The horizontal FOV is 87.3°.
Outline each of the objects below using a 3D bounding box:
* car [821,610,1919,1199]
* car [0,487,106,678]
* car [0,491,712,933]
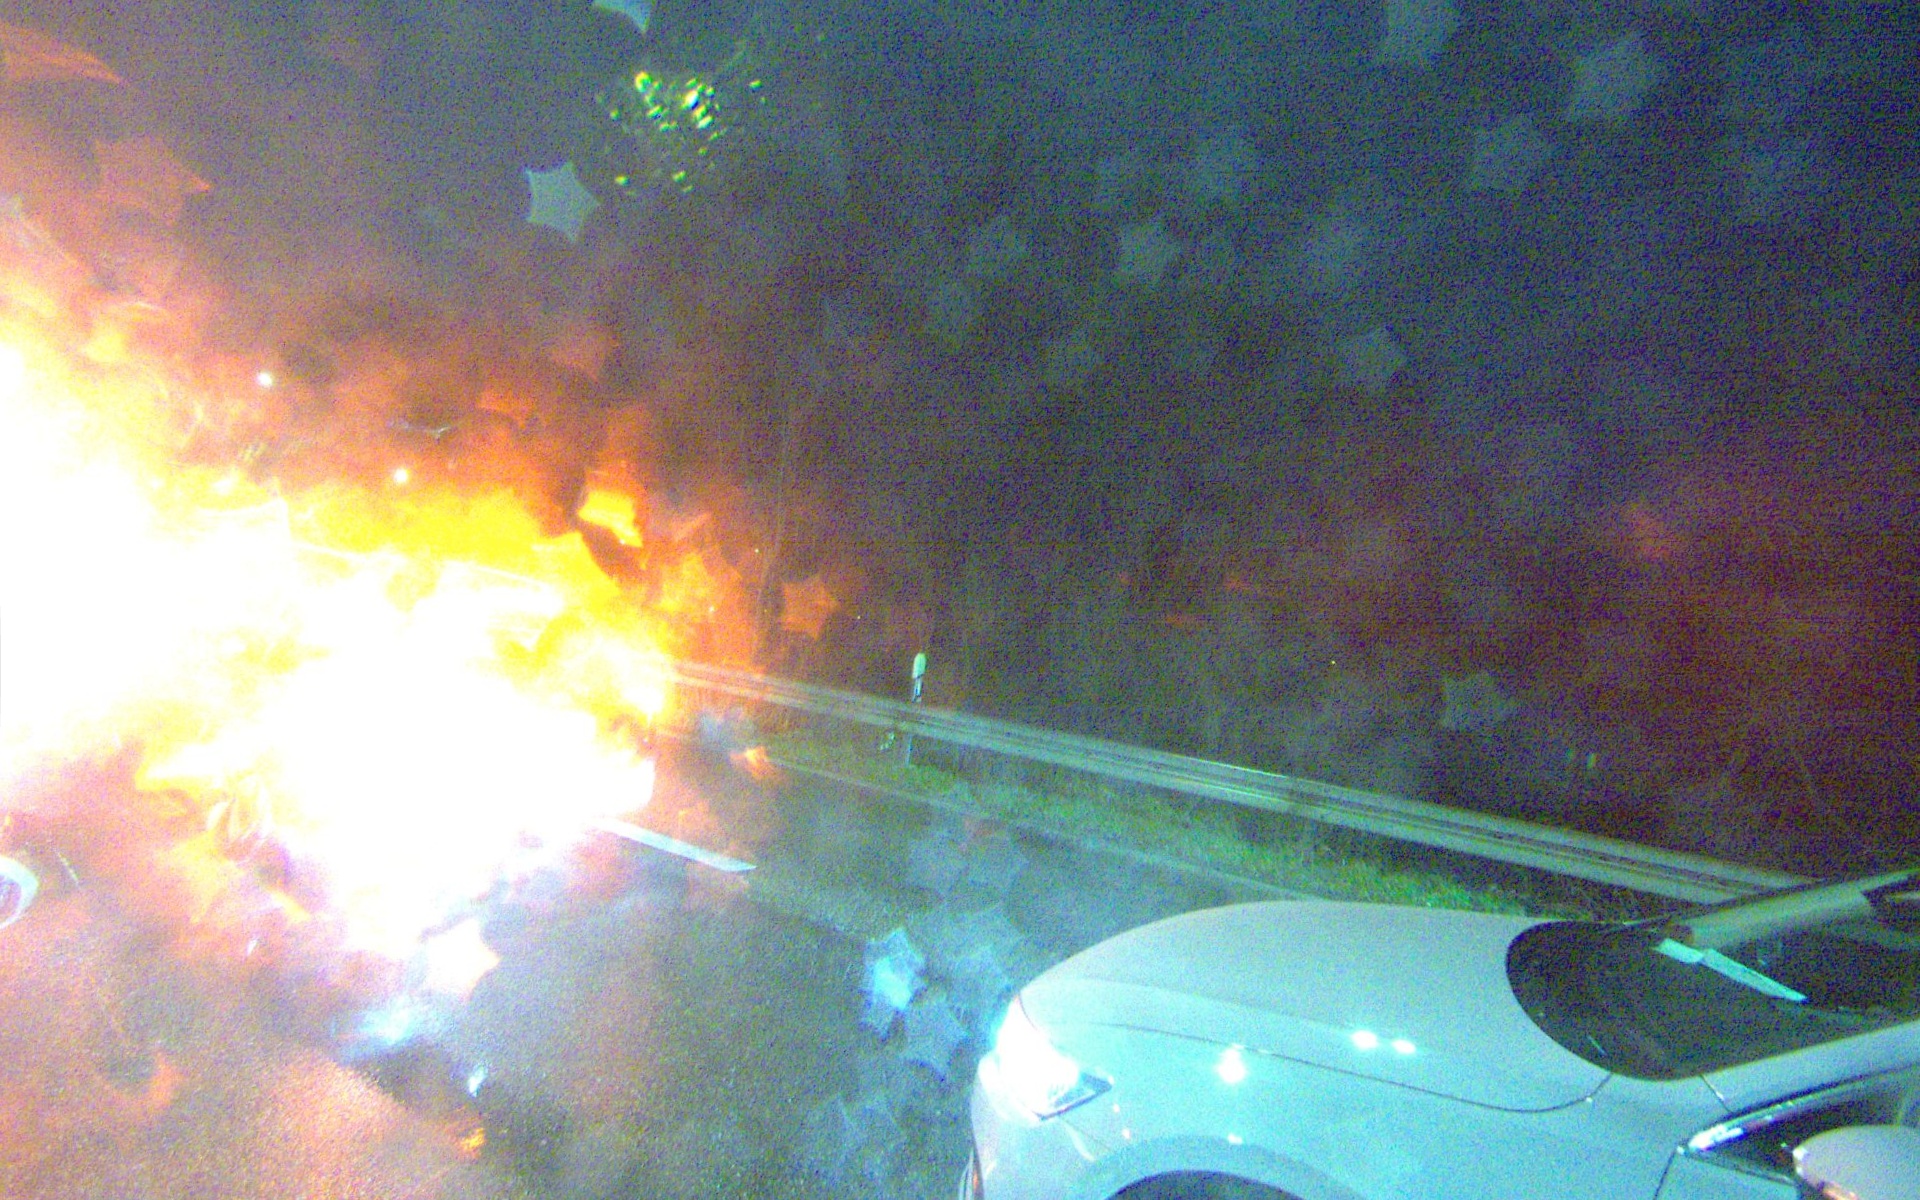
[{"bbox_3d":[2.034,1.065,1.598,4.342,1.539,1.710,6,-2,32],"label":"car"},{"bbox_3d":[-9.629,-0.352,8.981,3.892,1.539,1.681,6,-2,29],"label":"car"},{"bbox_3d":[-3.718,0.388,5.740,4.484,1.523,1.676,6,-2,32],"label":"car"}]
